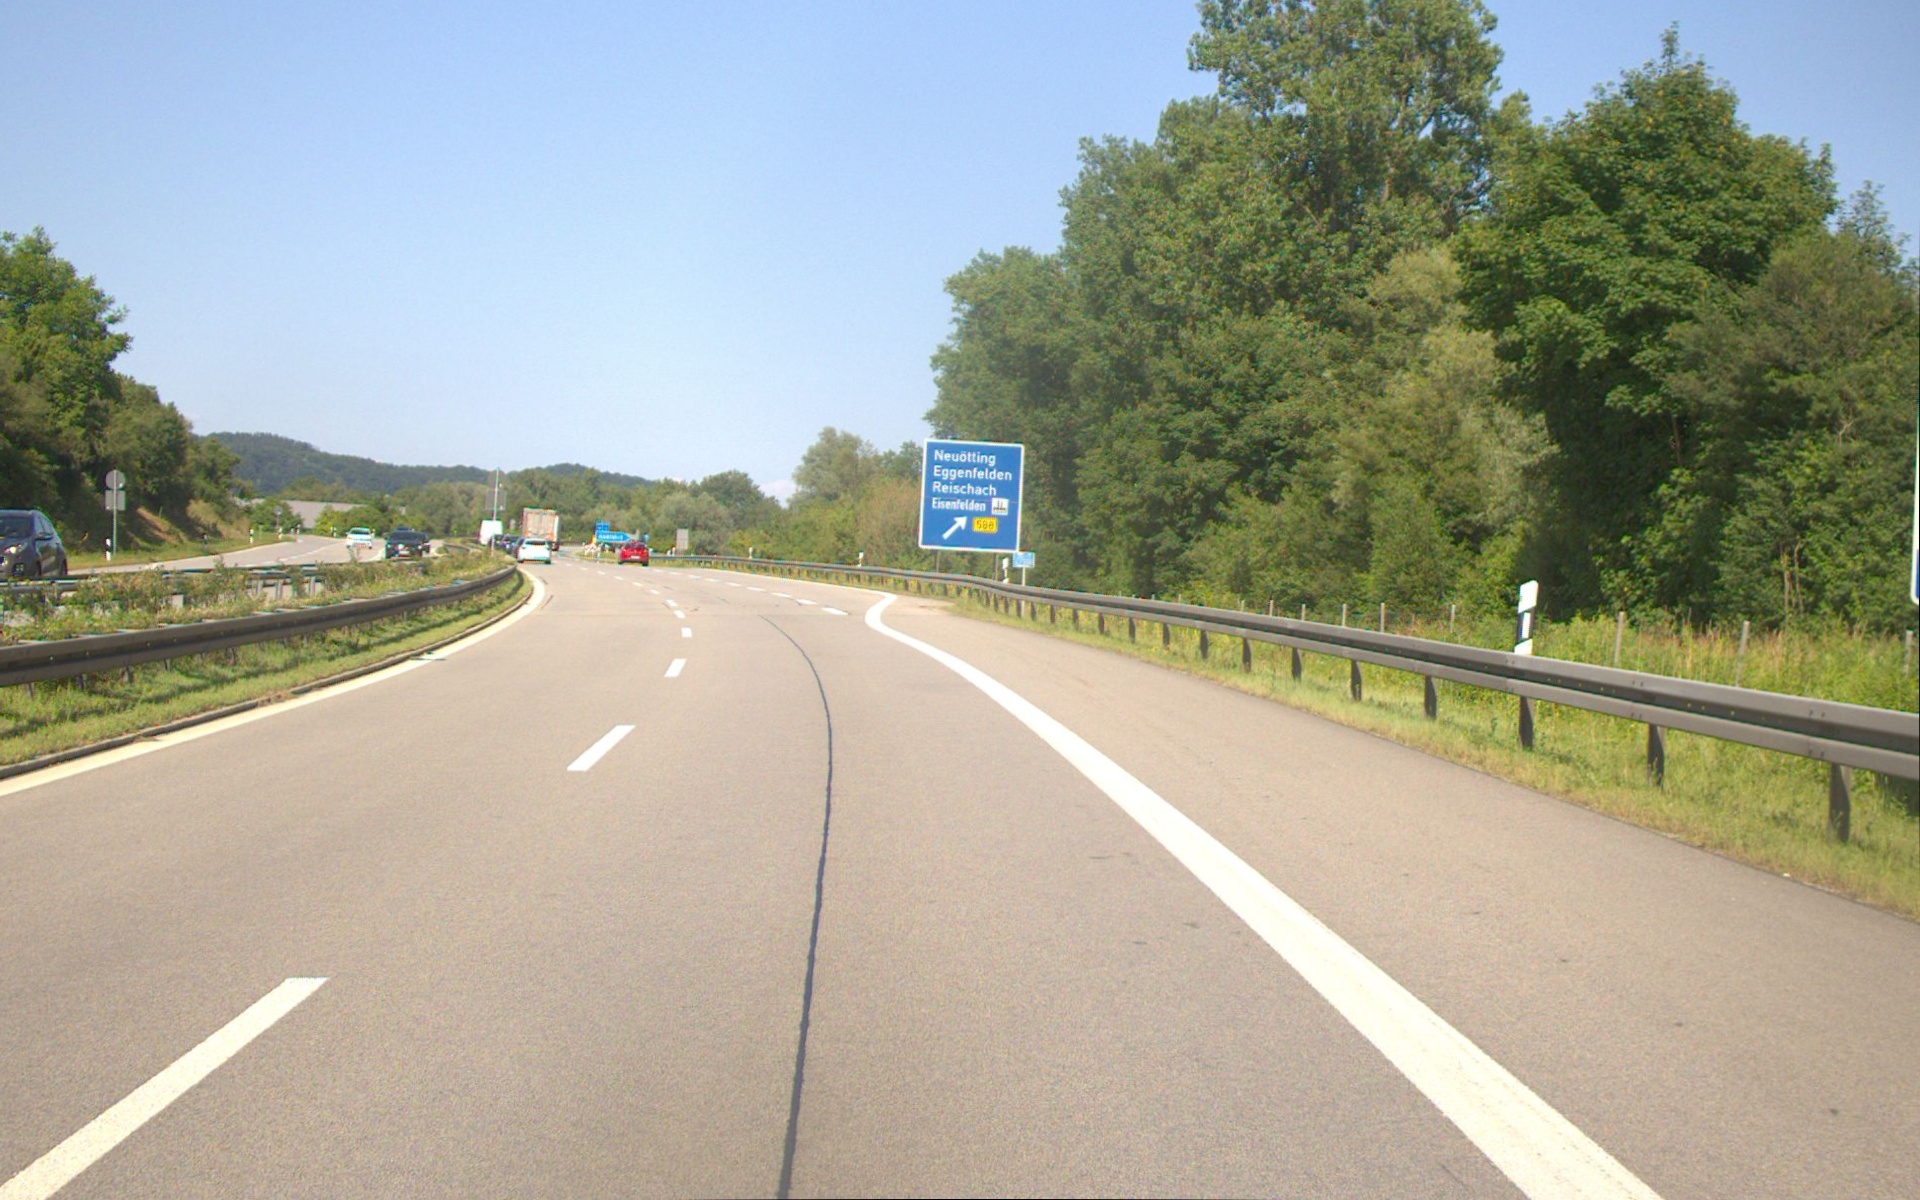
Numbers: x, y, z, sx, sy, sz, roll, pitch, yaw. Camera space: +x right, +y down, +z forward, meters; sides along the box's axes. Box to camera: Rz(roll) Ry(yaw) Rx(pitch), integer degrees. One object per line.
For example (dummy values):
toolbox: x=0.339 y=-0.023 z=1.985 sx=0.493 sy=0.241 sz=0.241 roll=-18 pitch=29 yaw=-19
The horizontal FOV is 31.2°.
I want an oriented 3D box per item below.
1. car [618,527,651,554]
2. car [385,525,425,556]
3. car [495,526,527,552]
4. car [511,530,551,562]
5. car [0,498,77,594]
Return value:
car: x=-20.208 y=-3.668 z=213.428 sx=1.783 sy=1.426 sz=4.000 roll=6 pitch=0 yaw=-3
car: x=-27.973 y=-2.980 z=173.294 sx=1.644 sy=1.450 sz=4.908 roll=1 pitch=0 yaw=-6
car: x=-31.333 y=-4.263 z=239.900 sx=1.993 sy=1.744 sz=4.001 roll=2 pitch=1 yaw=-9
car: x=-24.503 y=-3.086 z=196.292 sx=2.061 sy=1.619 sz=4.001 roll=2 pitch=-1 yaw=-9
car: x=-17.142 y=-0.965 z=61.230 sx=1.993 sy=1.646 sz=4.435 roll=0 pitch=1 yaw=-4
